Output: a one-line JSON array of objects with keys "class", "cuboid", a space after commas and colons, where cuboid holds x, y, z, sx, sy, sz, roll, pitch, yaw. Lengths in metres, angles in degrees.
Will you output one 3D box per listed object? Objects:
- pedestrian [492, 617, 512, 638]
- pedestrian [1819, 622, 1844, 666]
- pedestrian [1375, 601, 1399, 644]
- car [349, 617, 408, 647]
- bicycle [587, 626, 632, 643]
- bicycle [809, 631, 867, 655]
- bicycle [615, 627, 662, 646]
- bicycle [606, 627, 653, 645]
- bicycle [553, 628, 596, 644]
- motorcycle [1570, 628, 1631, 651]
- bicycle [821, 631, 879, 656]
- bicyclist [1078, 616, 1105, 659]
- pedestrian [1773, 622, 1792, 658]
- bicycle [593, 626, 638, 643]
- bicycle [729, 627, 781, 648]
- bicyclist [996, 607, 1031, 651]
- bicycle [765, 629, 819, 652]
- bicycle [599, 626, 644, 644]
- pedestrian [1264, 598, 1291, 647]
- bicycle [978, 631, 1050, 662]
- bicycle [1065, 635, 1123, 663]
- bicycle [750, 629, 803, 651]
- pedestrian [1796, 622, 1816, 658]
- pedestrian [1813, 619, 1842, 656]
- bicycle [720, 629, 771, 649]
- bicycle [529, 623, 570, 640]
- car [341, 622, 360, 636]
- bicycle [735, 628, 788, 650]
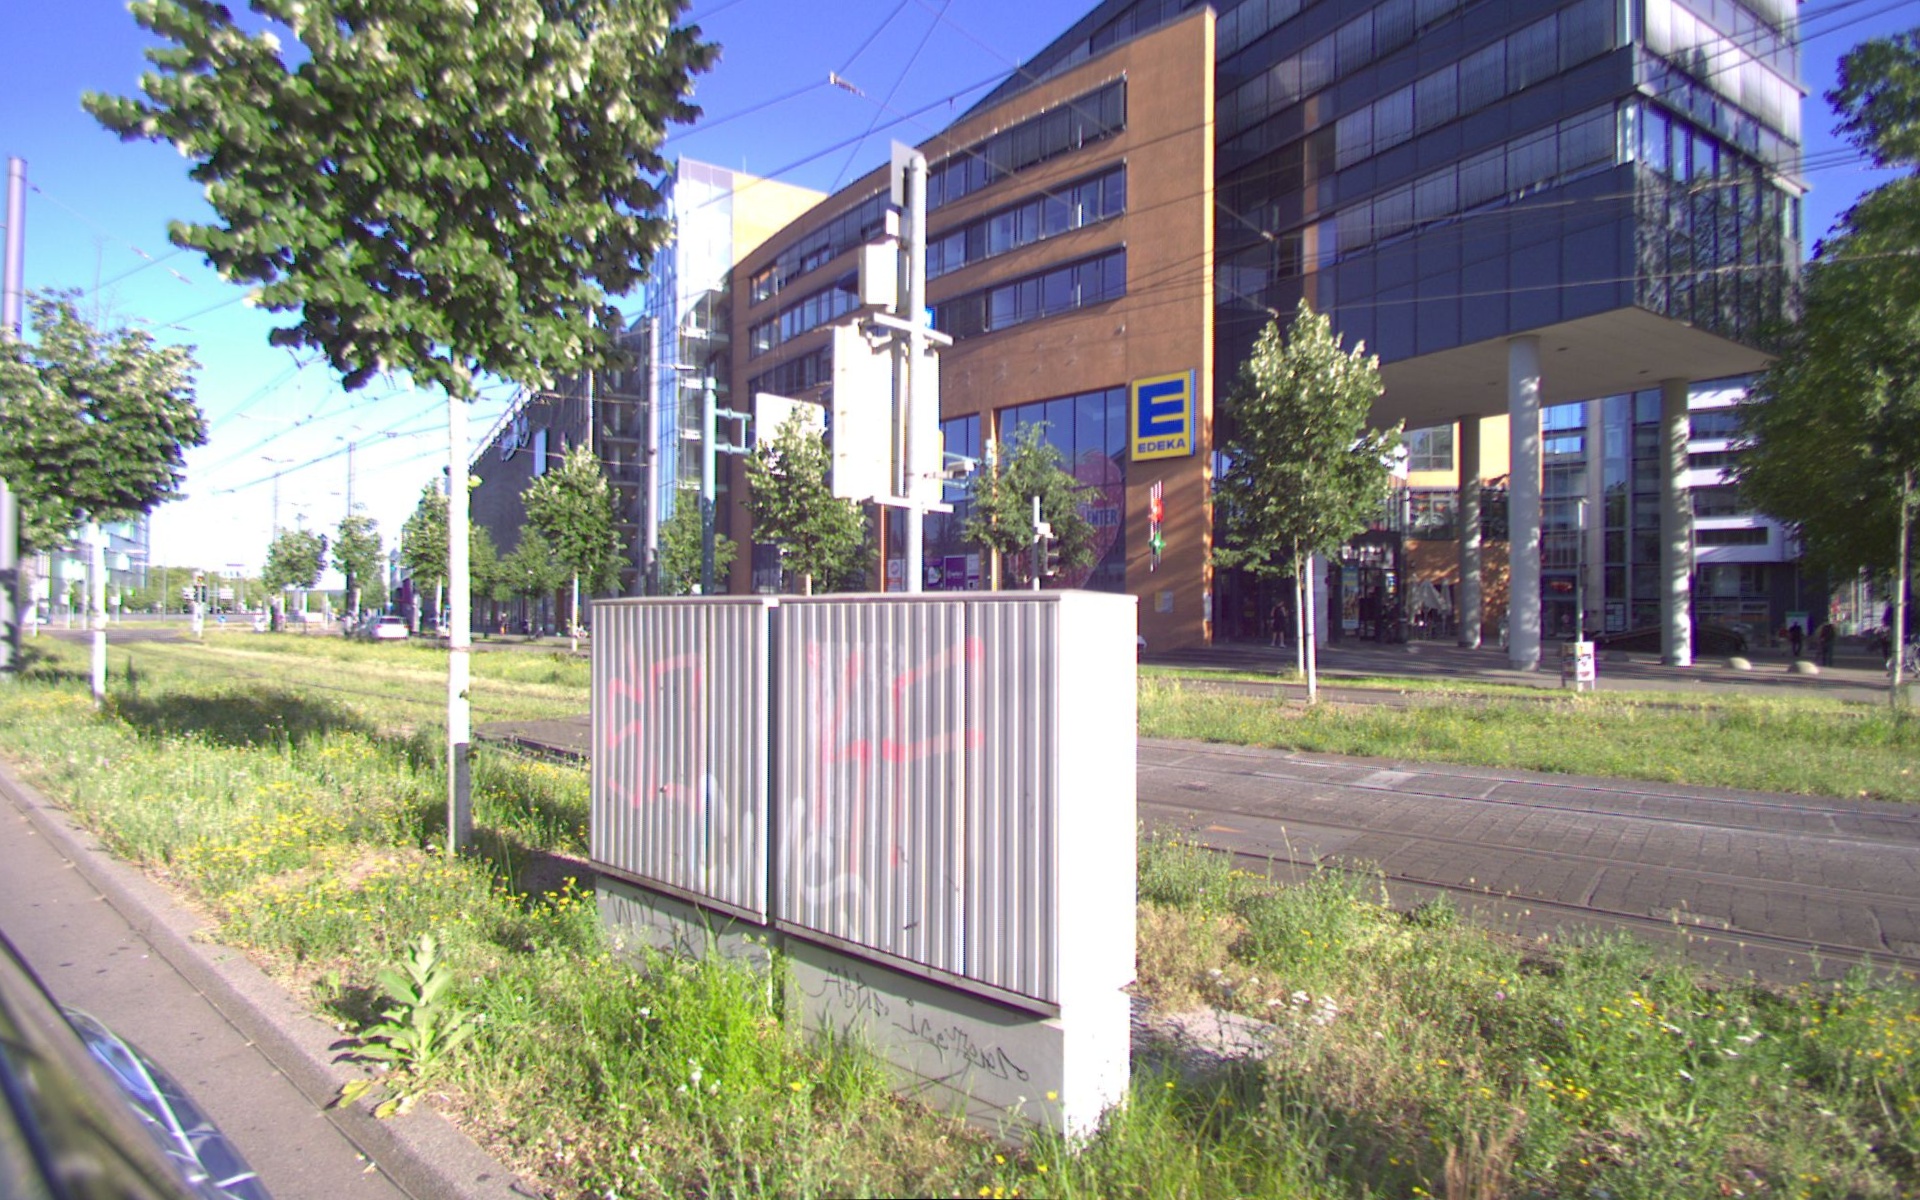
[{"class": "pedestrian", "cuboid": [-37.136, 2.192, 82.058, 1.093, 1.694, 1.059, -1, -2, 35]}, {"class": "pedestrian", "cuboid": [33.529, 1.667, 38.941, 0.698, 1.665, 0.697, 0, -1, 39]}, {"class": "pedestrian", "cuboid": [17.265, 0.892, 40.939, 0.698, 1.718, 0.724, -1, -2, 40]}, {"class": "car", "cuboid": [-31.299, 1.669, 54.379, 1.603, 1.539, 4.807, 1, -2, -44]}, {"class": "bicycle", "cuboid": [-23.059, 2.253, 66.679, 2.648, 1.112, 0.897, 1, -2, -38]}, {"class": "bicycle", "cuboid": [-5.773, 2.034, 48.026, 2.648, 1.112, 0.897, 1, -2, -38]}, {"class": "bicycle", "cuboid": [-19.740, 2.230, 62.158, 2.648, 1.112, 0.897, 1, -2, -38]}, {"class": "bicycle", "cuboid": [-20.812, 2.235, 63.789, 2.648, 1.112, 0.897, 1, -2, -38]}, {"class": "bicycle", "cuboid": [-26.975, 2.511, 70.772, 2.648, 1.112, 0.897, 1, -2, -38]}, {"class": "motorcycle", "cuboid": [30.772, 1.883, 48.672, 0.819, 1.066, 2.347, 1, -1, -40]}, {"class": "bicycle", "cuboid": [-5.123, 2.004, 47.204, 2.648, 1.112, 0.897, 1, -2, -38]}, {"class": "bicyclist", "cuboid": [4.801, 1.347, 36.965, 0.702, 1.541, 0.682, -1, -2, 40]}, {"class": "pedestrian", "cuboid": [40.556, 1.971, 49.904, 0.698, 1.727, 0.724, -1, -2, 38]}, {"class": "bicycle", "cuboid": [-22.446, 2.244, 65.993, 2.648, 1.112, 0.827, 1, -2, -38]}, {"class": "bicycle", "cuboid": [-11.175, 2.058, 55.226, 2.648, 1.112, 0.897, 1, -2, -38]}, {"class": "bicyclist", "cuboid": [1.970, 1.070, 37.209, 0.939, 1.560, 0.883, -2, -3, 42]}, {"class": "bicycle", "cuboid": [-8.584, 2.053, 51.784, 2.648, 1.112, 0.897, 1, -2, -38]}, {"class": "bicycle", "cuboid": [-21.811, 2.240, 65.236, 2.648, 1.112, 0.897, 1, -2, -38]}, {"class": "pedestrian", "cuboid": [11.323, 0.805, 36.062, 0.698, 1.718, 0.724, -1, -2, 40]}, {"class": "bicycle", "cuboid": [1.980, 1.694, 37.189, 2.691, 1.112, 0.883, -2, -3, 42]}, {"class": "bicycle", "cuboid": [4.872, 1.774, 36.903, 2.066, 0.957, 0.682, -1, -2, 41]}, {"class": "bicycle", "cuboid": [-9.550, 2.060, 52.715, 2.648, 1.112, 0.897, 1, -2, -38]}, {"class": "pedestrian", "cuboid": [41.361, 1.948, 49.481, 0.698, 1.727, 0.724, -1, -2, 38]}, {"class": "pedestrian", "cuboid": [39.199, 1.683, 45.731, 0.721, 1.635, 0.701, 1, -1, -18]}, {"class": "bicycle", "cuboid": [-11.898, 2.150, 56.163, 2.648, 1.112, 0.897, 1, -2, -38]}, {"class": "bicycle", "cuboid": [-30.508, 2.347, 75.217, 2.648, 1.198, 0.897, 1, -2, -38]}, {"class": "car", "cuboid": [-65.130, 3.102, 108.100, 1.599, 1.539, 4.369, 2, -2, -30]}, {"class": "bicycle", "cuboid": [-10.577, 2.066, 54.036, 2.648, 1.112, 0.897, 1, -2, -38]}]
